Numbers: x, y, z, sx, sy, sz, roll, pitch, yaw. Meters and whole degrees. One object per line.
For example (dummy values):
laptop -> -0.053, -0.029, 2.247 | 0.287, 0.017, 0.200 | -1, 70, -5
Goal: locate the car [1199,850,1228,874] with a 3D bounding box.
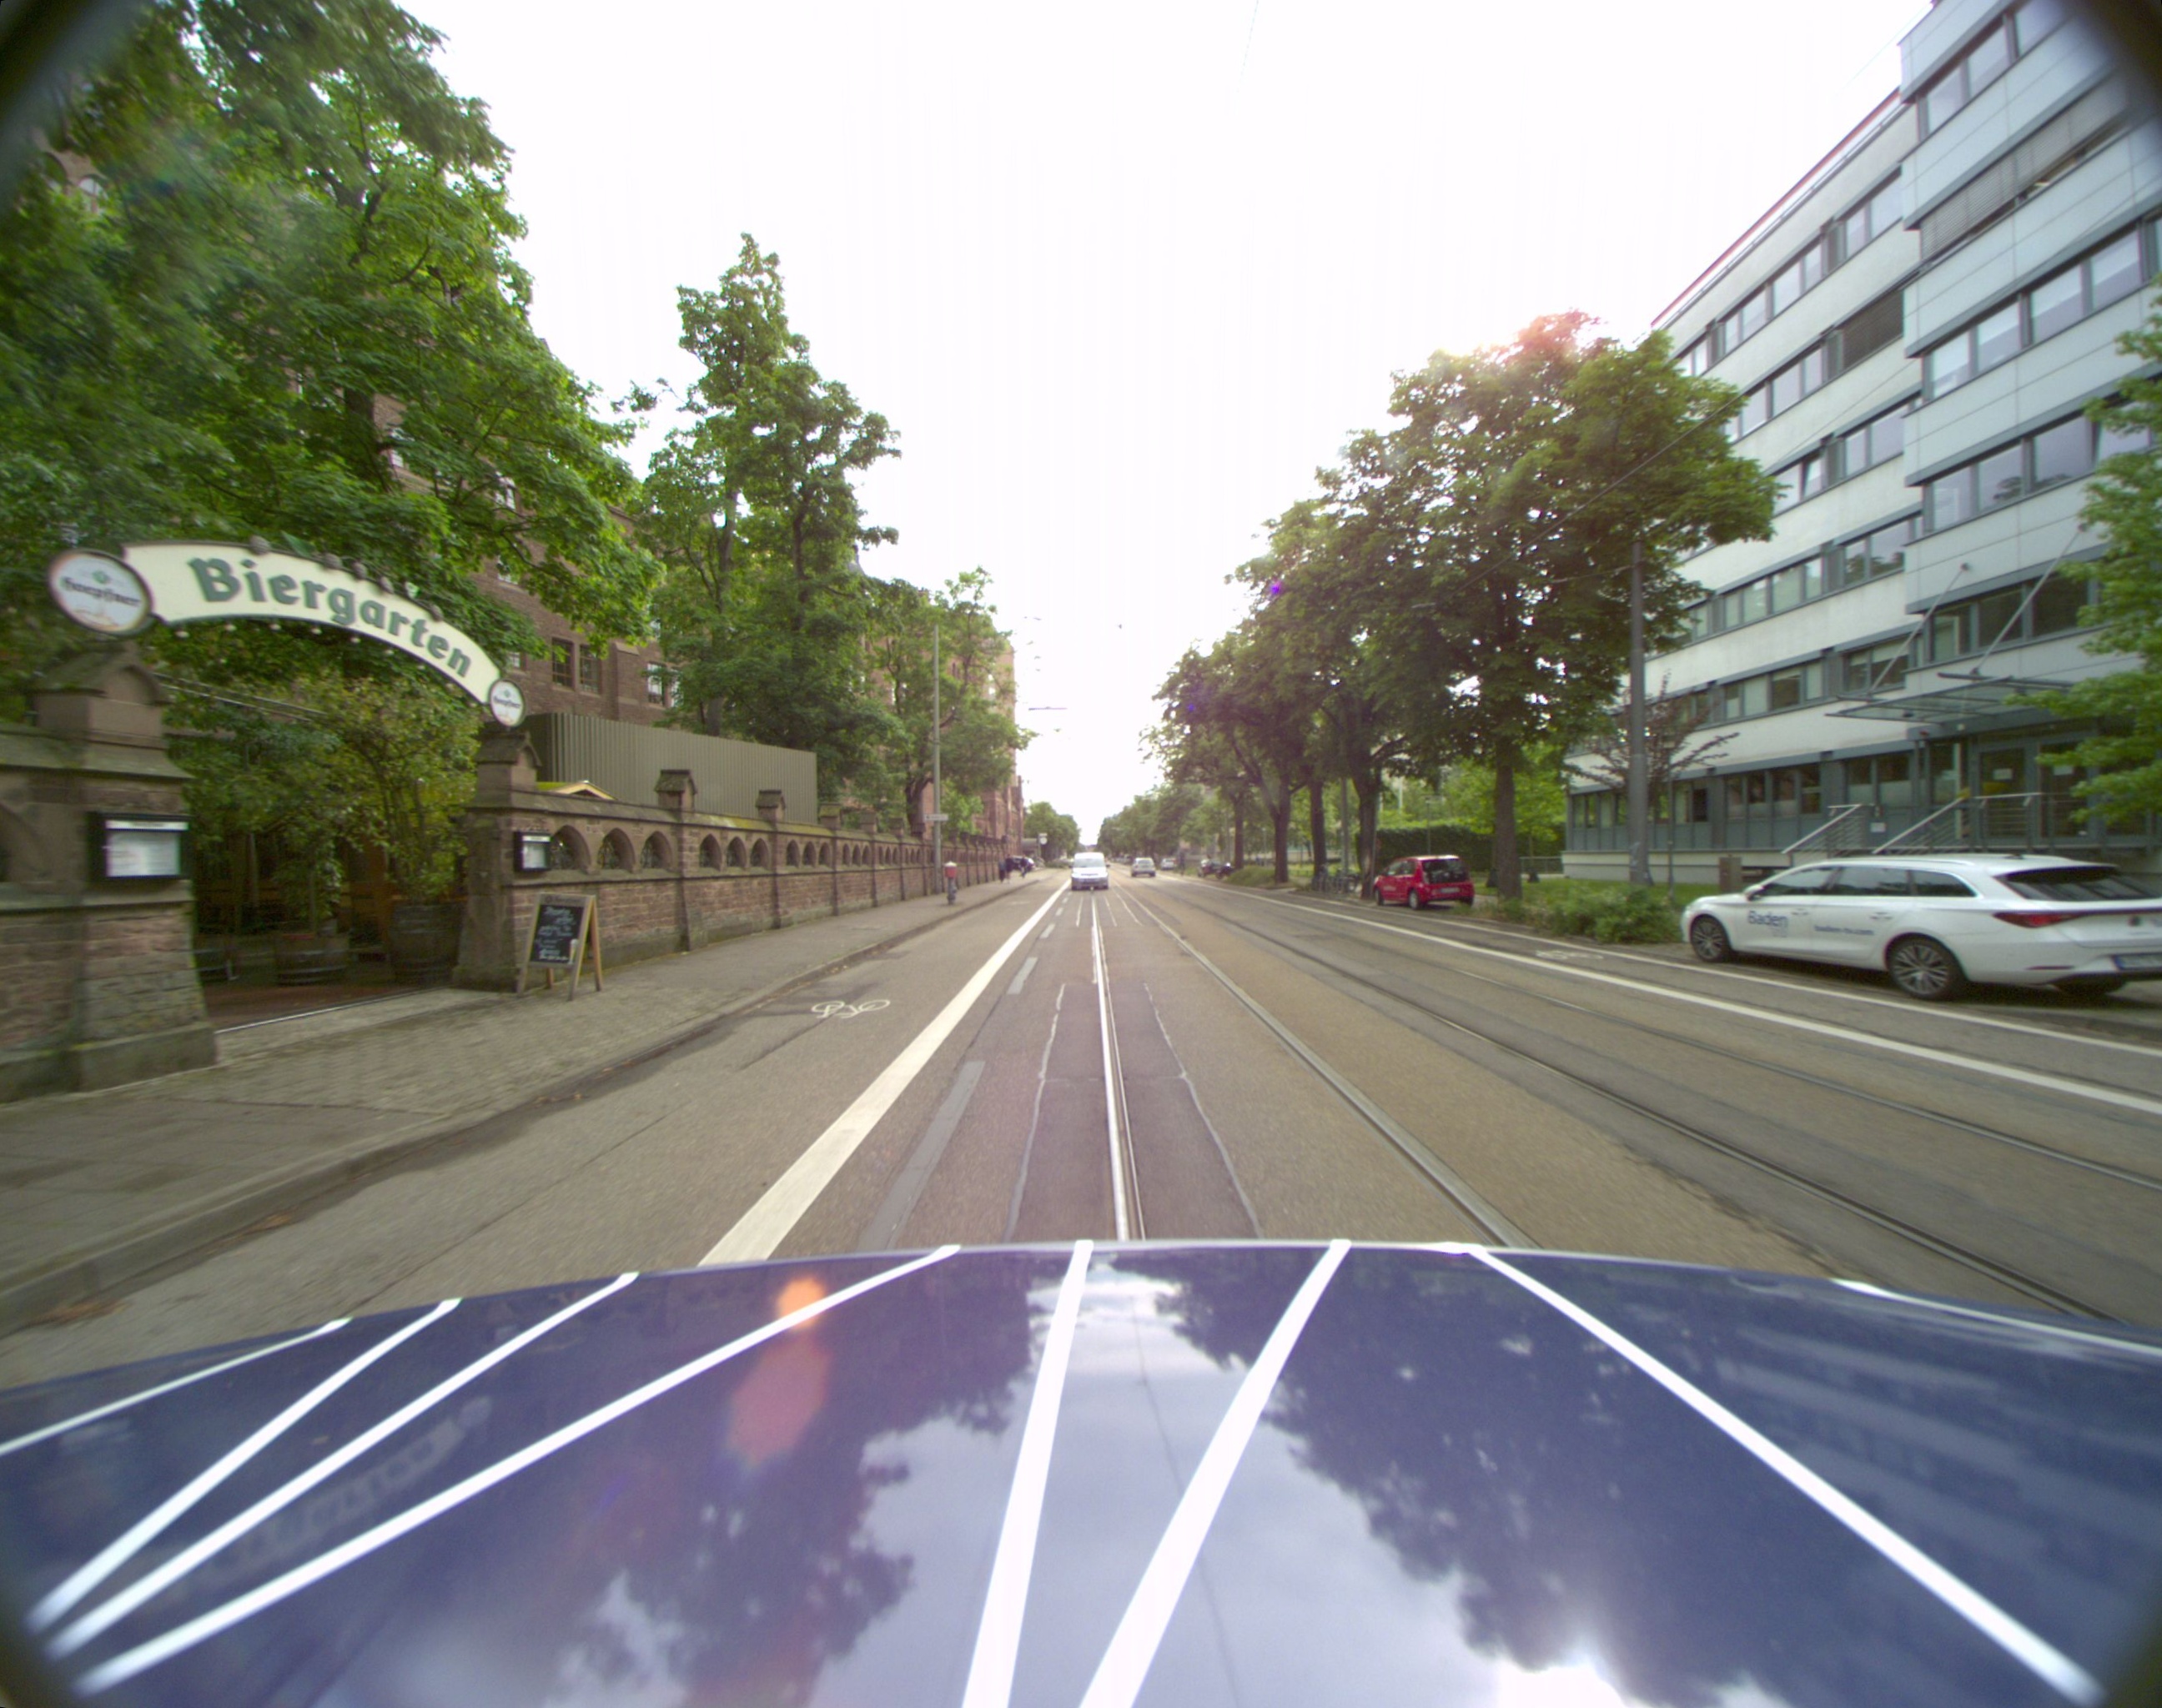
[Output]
car -> 10.409, 0.590, 59.892 | 1.815, 1.699, 4.000 | -2, 1, 4

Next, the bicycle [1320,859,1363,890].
bicycle -> 10.243, 0.802, 29.888 | 1.473, 1.134, 0.617 | -1, 1, 0

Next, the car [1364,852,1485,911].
car -> 9.850, 0.728, 22.119 | 1.632, 1.439, 3.756 | -4, 1, -2

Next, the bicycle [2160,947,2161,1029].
bicycle -> 9.804, 0.852, 5.861 | 1.868, 1.180, 0.632 | 0, 1, 5

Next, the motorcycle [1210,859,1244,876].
motorcycle -> 9.806, 0.908, 51.210 | 2.128, 1.096, 0.776 | -2, 1, 42

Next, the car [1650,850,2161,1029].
car -> 9.460, 0.743, 9.001 | 1.886, 1.485, 4.753 | -3, 0, 1

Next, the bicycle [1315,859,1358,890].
bicycle -> 10.204, 0.821, 30.394 | 1.473, 1.134, 0.617 | -3, 1, 0

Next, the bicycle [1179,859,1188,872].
bicycle -> 8.493, 0.933, 62.961 | 0.636, 1.045, 1.994 | -2, 1, 5

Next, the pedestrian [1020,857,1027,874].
pedestrian -> -5.292, 1.052, 70.258 | 0.529, 1.548, 0.489 | 2, 1, -2

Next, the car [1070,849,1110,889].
car -> 0.460, 0.685, 38.626 | 1.850, 1.797, 4.936 | -3, 1, 1

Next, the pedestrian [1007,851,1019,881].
pedestrian -> -4.231, 0.730, 47.354 | 0.723, 1.834, 0.897 | 0, 1, -2

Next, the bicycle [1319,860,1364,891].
bicycle -> 9.897, 0.823, 28.890 | 1.474, 1.085, 0.616 | -3, 1, -11

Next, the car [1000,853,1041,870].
car -> -6.582, 0.777, 82.888 | 3.992, 1.609, 2.002 | 3, 1, 12

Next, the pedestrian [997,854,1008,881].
pedestrian -> -4.863, 0.825, 47.140 | 0.559, 1.646, 0.771 | 1, 1, -2

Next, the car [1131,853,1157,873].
car -> 5.069, 0.698, 61.506 | 1.745, 1.490, 4.260 | -1, 0, -1

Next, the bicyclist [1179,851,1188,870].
bicyclist -> 8.475, 0.553, 62.951 | 0.636, 1.528, 0.955 | -2, 1, 5

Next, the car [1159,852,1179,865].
car -> 10.603, 0.529, 91.633 | 1.849, 1.425, 3.951 | -3, 1, 0

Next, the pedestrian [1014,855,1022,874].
pedestrian -> -5.747, 0.977, 69.428 | 0.669, 1.703, 0.997 | 2, 1, -2
